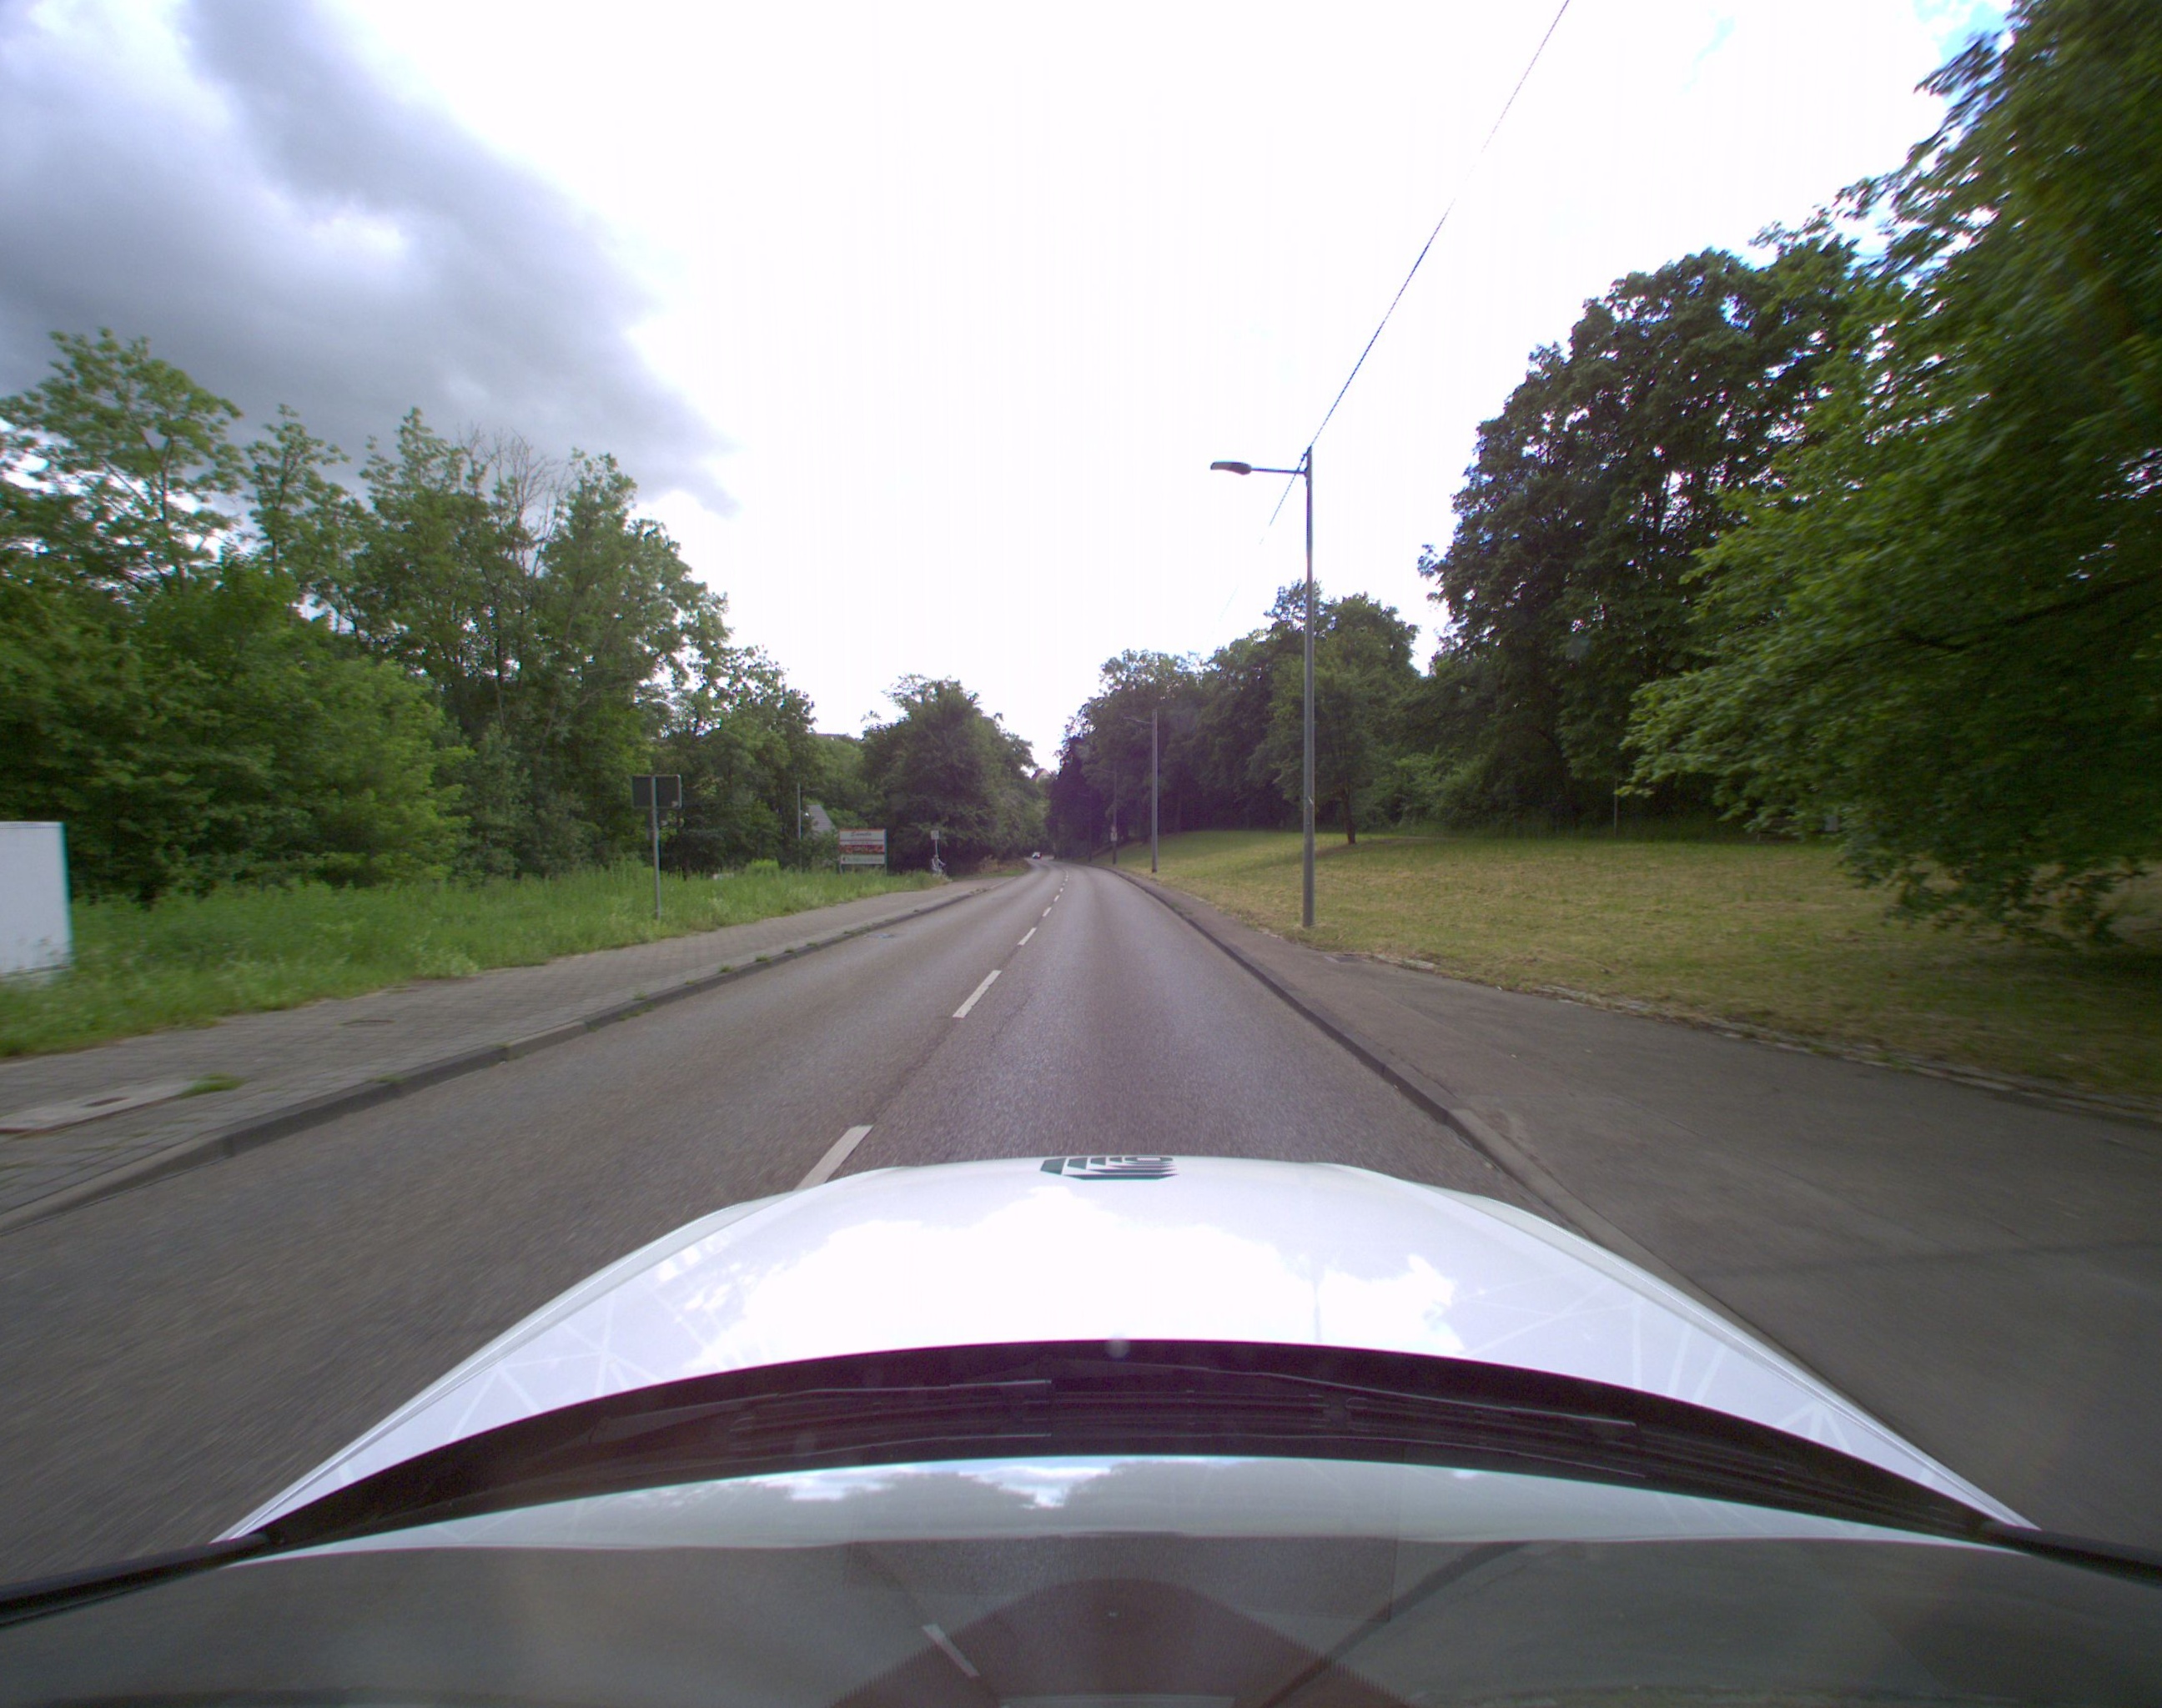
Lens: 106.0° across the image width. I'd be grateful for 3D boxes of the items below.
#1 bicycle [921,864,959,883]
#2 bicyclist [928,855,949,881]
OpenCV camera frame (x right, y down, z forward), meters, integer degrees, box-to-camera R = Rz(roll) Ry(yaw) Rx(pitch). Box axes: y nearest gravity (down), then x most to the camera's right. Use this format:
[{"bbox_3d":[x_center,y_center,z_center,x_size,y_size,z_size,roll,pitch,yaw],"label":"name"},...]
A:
[{"bbox_3d":[-7.886,1.079,45.523,2.412,1.036,0.836,0,-1,44],"label":"bicycle"},{"bbox_3d":[-7.975,0.795,45.639,0.772,1.427,0.834,-1,-1,45],"label":"bicyclist"}]
